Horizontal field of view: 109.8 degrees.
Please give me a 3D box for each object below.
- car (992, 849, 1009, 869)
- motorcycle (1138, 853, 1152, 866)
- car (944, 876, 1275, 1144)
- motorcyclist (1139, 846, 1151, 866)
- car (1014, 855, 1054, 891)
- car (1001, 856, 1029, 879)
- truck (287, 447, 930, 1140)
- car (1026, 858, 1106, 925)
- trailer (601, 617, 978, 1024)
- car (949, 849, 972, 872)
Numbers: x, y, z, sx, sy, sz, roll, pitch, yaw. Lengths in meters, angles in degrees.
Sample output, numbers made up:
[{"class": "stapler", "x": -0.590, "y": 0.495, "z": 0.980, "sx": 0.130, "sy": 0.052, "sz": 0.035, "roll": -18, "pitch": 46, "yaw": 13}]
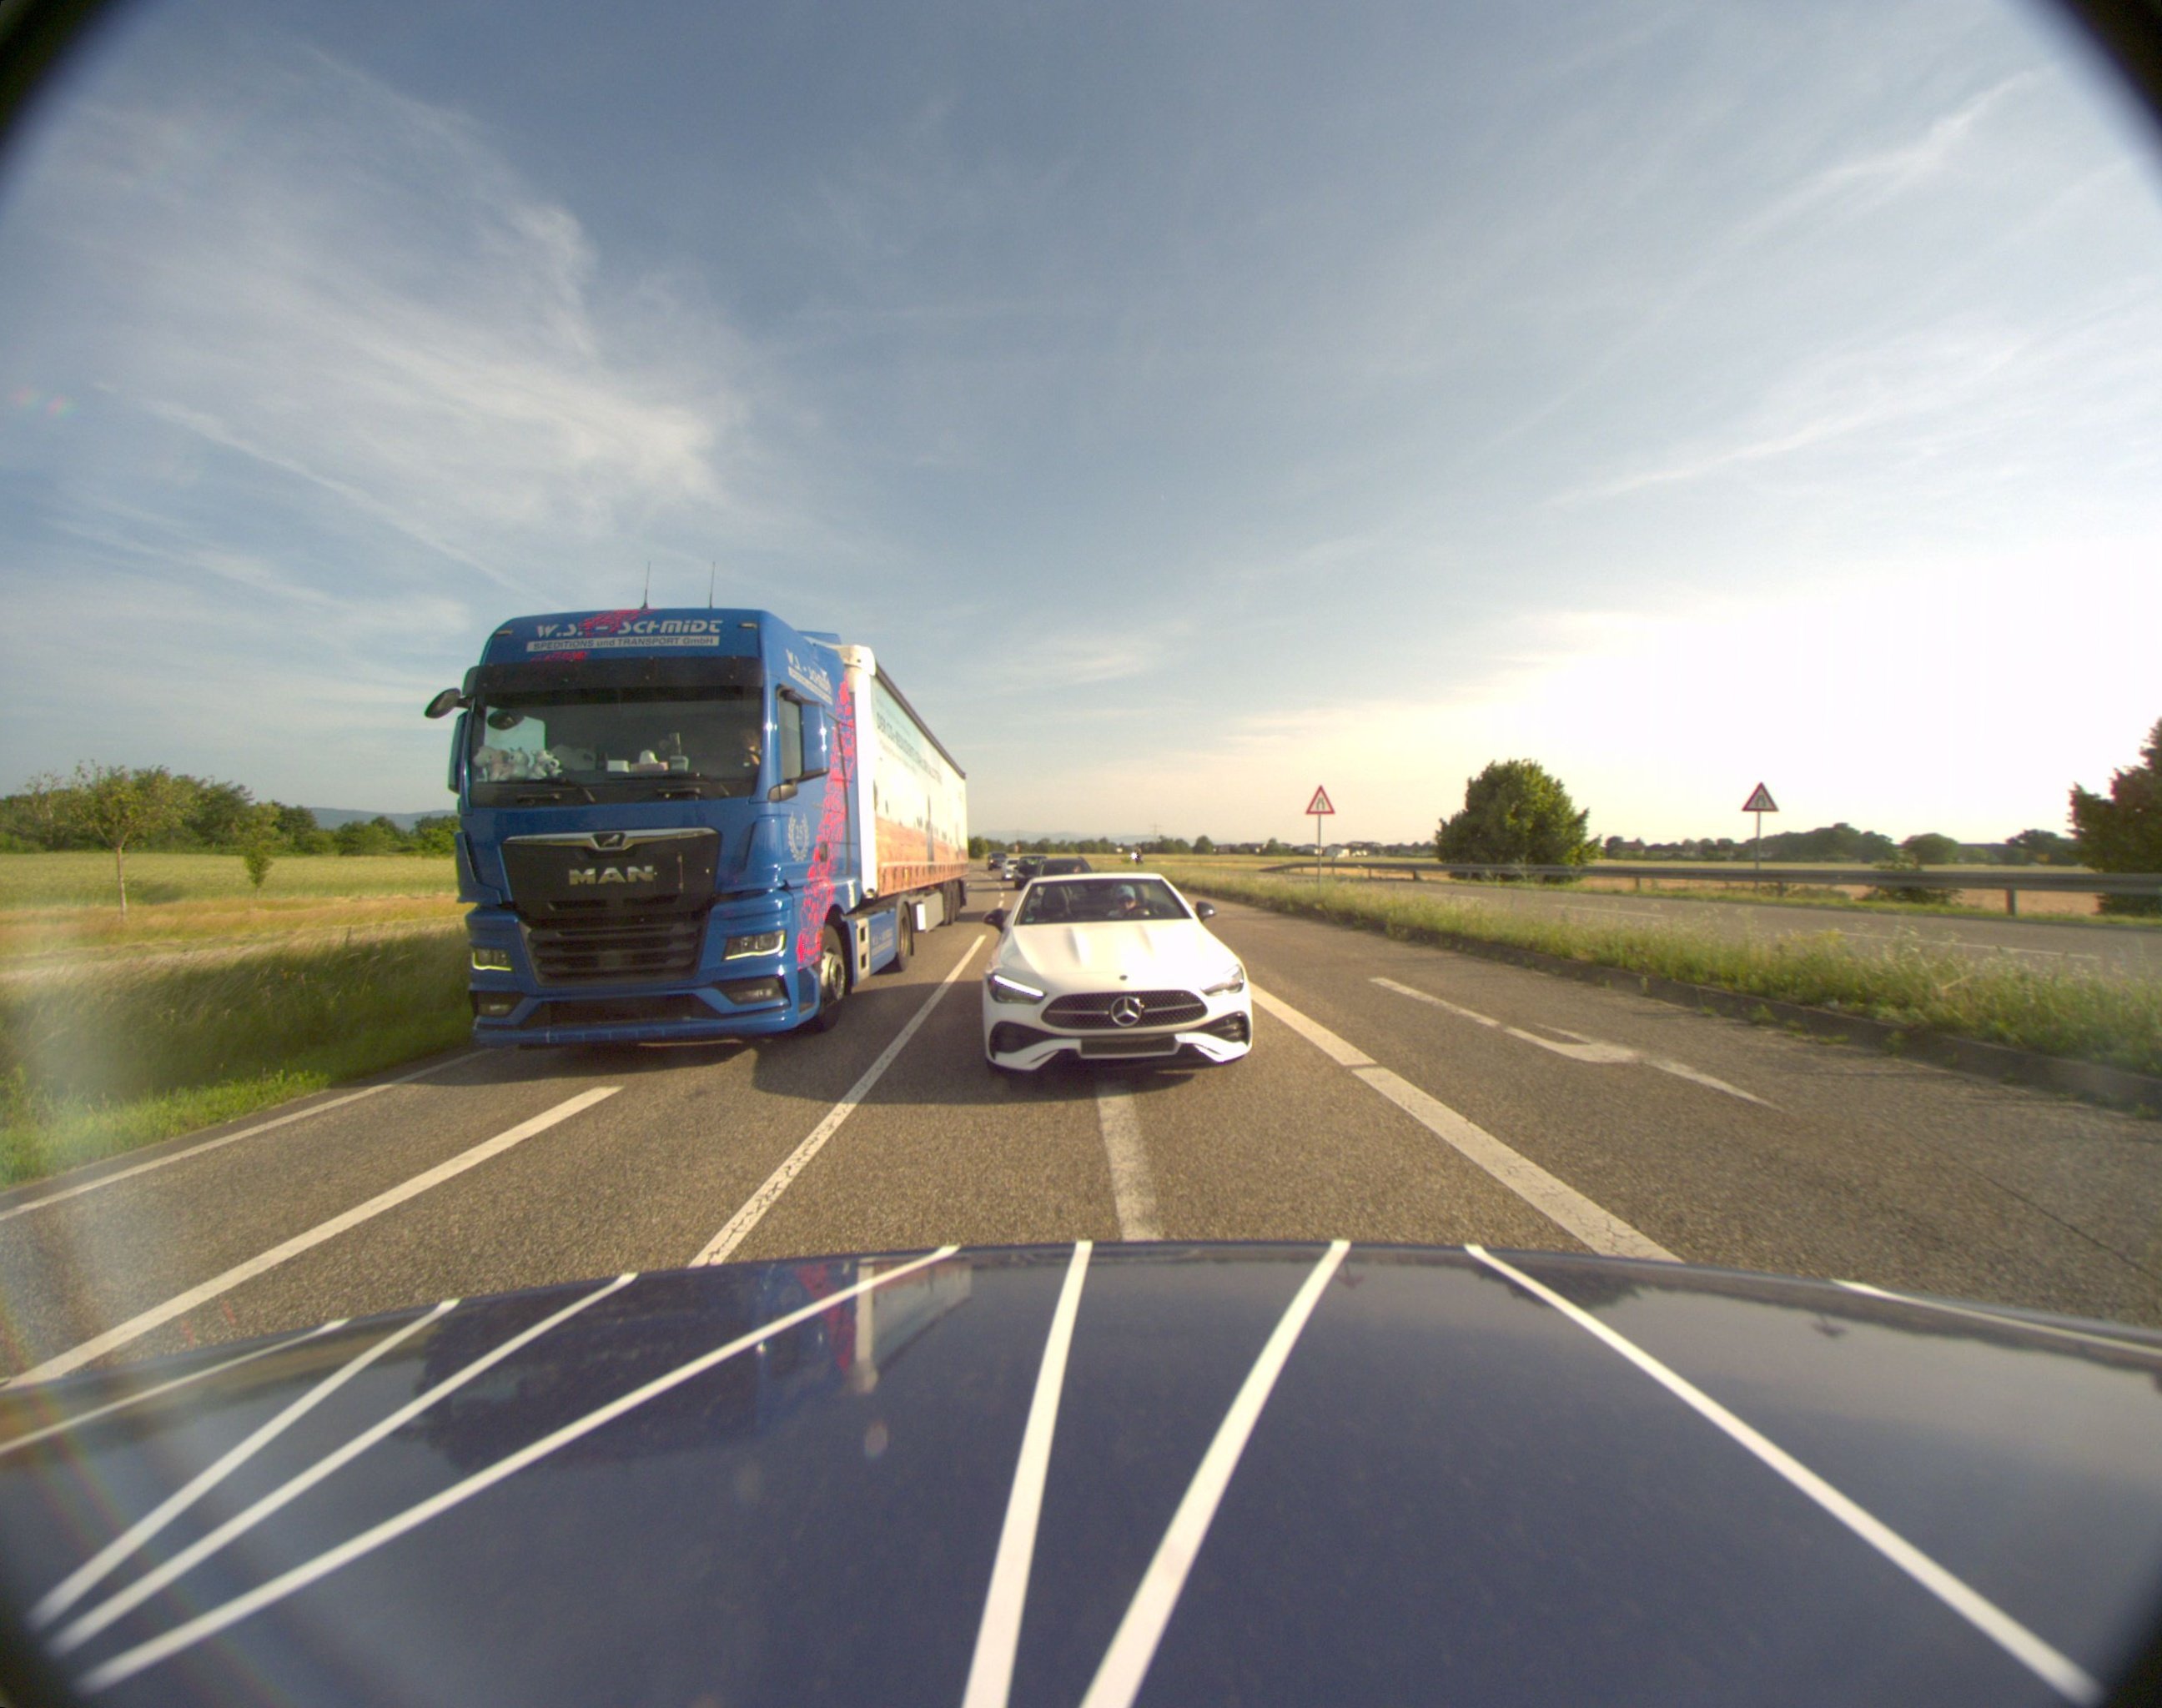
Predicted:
[{"class": "car", "x": -8.255, "y": 0.492, "z": 77.529, "sx": 1.558, "sy": 1.909, "sz": 4.032, "roll": -1, "pitch": 0, "yaw": -8}, {"class": "motorcycle", "x": 5.851, "y": 0.520, "z": 69.633, "sx": 0.940, "sy": 1.118, "sz": 2.169, "roll": -2, "pitch": 0, "yaw": -5}, {"class": "car", "x": 0.122, "y": 0.983, "z": 6.500, "sx": 1.941, "sy": 1.389, "sz": 3.917, "roll": -2, "pitch": 1, "yaw": -2}, {"class": "motorcyclist", "x": 5.841, "y": 0.197, "z": 69.639, "sx": 0.906, "sy": 1.748, "sz": 0.831, "roll": -2, "pitch": 1, "yaw": -6}, {"class": "car", "x": -2.218, "y": 0.832, "z": 35.255, "sx": 1.558, "sy": 1.550, "sz": 3.046, "roll": -1, "pitch": 0, "yaw": -8}, {"class": "car", "x": -4.247, "y": 0.819, "z": 48.345, "sx": 1.558, "sy": 1.392, "sz": 4.032, "roll": -1, "pitch": 0, "yaw": -8}, {"class": "truck", "x": -3.730, "y": -0.459, "z": 8.058, "sx": 3.309, "sy": 4.631, "sz": 5.729, "roll": -2, "pitch": 1, "yaw": -4}, {"class": "car", "x": -0.480, "y": 0.874, "z": 19.534, "sx": 1.586, "sy": 1.496, "sz": 3.658, "roll": -1, "pitch": 0, "yaw": -8}, {"class": "trailer", "x": -4.236, "y": -0.506, "z": 15.418, "sx": 3.291, "sy": 4.654, "sz": 13.139, "roll": -2, "pitch": 1, "yaw": -4}, {"class": "car", "x": -11.142, "y": 0.572, "z": 70.650, "sx": 2.000, "sy": 2.002, "sz": 3.997, "roll": -1, "pitch": 0, "yaw": -8}]
